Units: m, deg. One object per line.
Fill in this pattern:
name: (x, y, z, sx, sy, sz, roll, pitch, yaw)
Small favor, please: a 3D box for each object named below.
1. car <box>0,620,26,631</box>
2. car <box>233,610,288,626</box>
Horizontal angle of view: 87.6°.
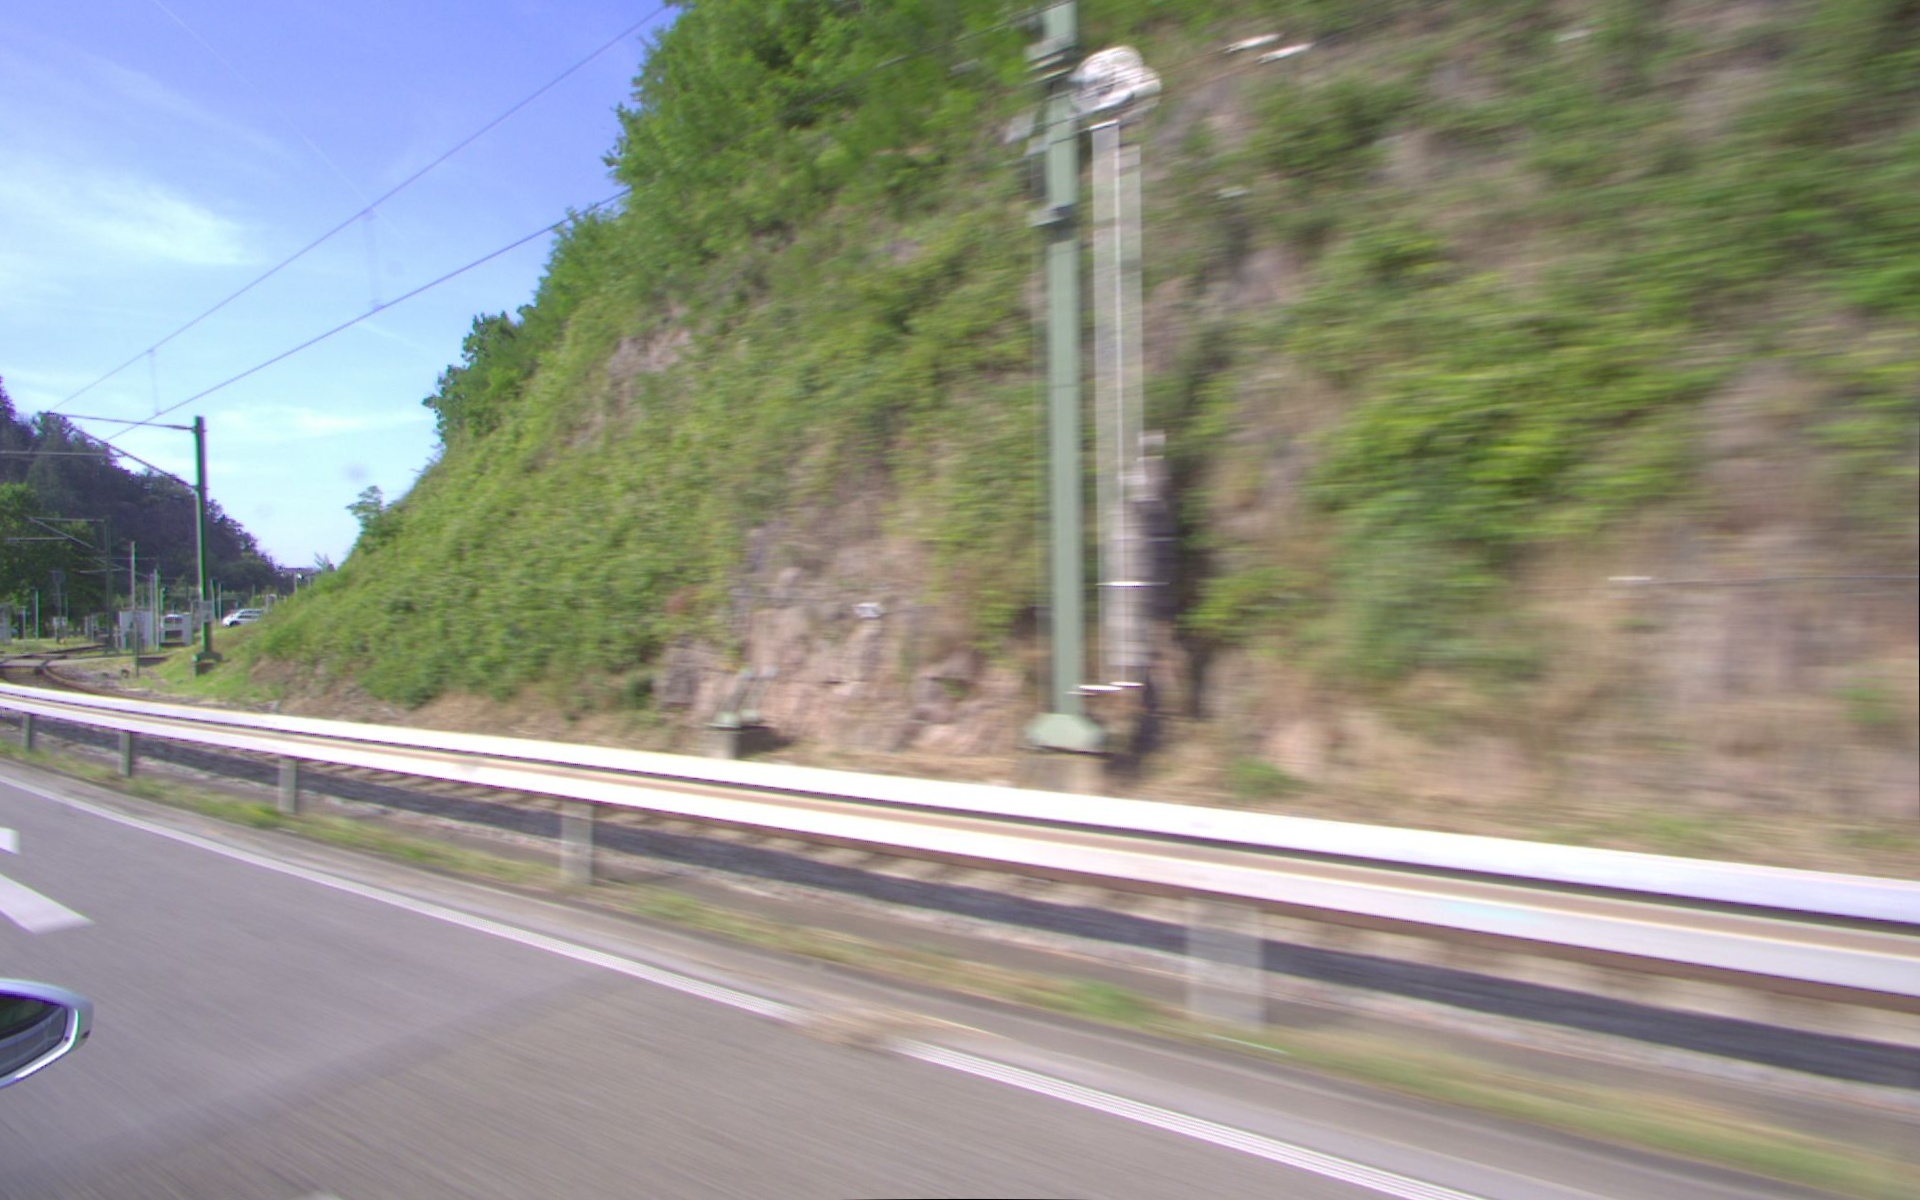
car: (-122.124, 3.260, 128.988, 1.788, 1.427, 3.754, -2, 0, -30)
car: (-63.342, 1.623, 90.780, 4.058, 1.416, 1.797, 1, -1, -35)
